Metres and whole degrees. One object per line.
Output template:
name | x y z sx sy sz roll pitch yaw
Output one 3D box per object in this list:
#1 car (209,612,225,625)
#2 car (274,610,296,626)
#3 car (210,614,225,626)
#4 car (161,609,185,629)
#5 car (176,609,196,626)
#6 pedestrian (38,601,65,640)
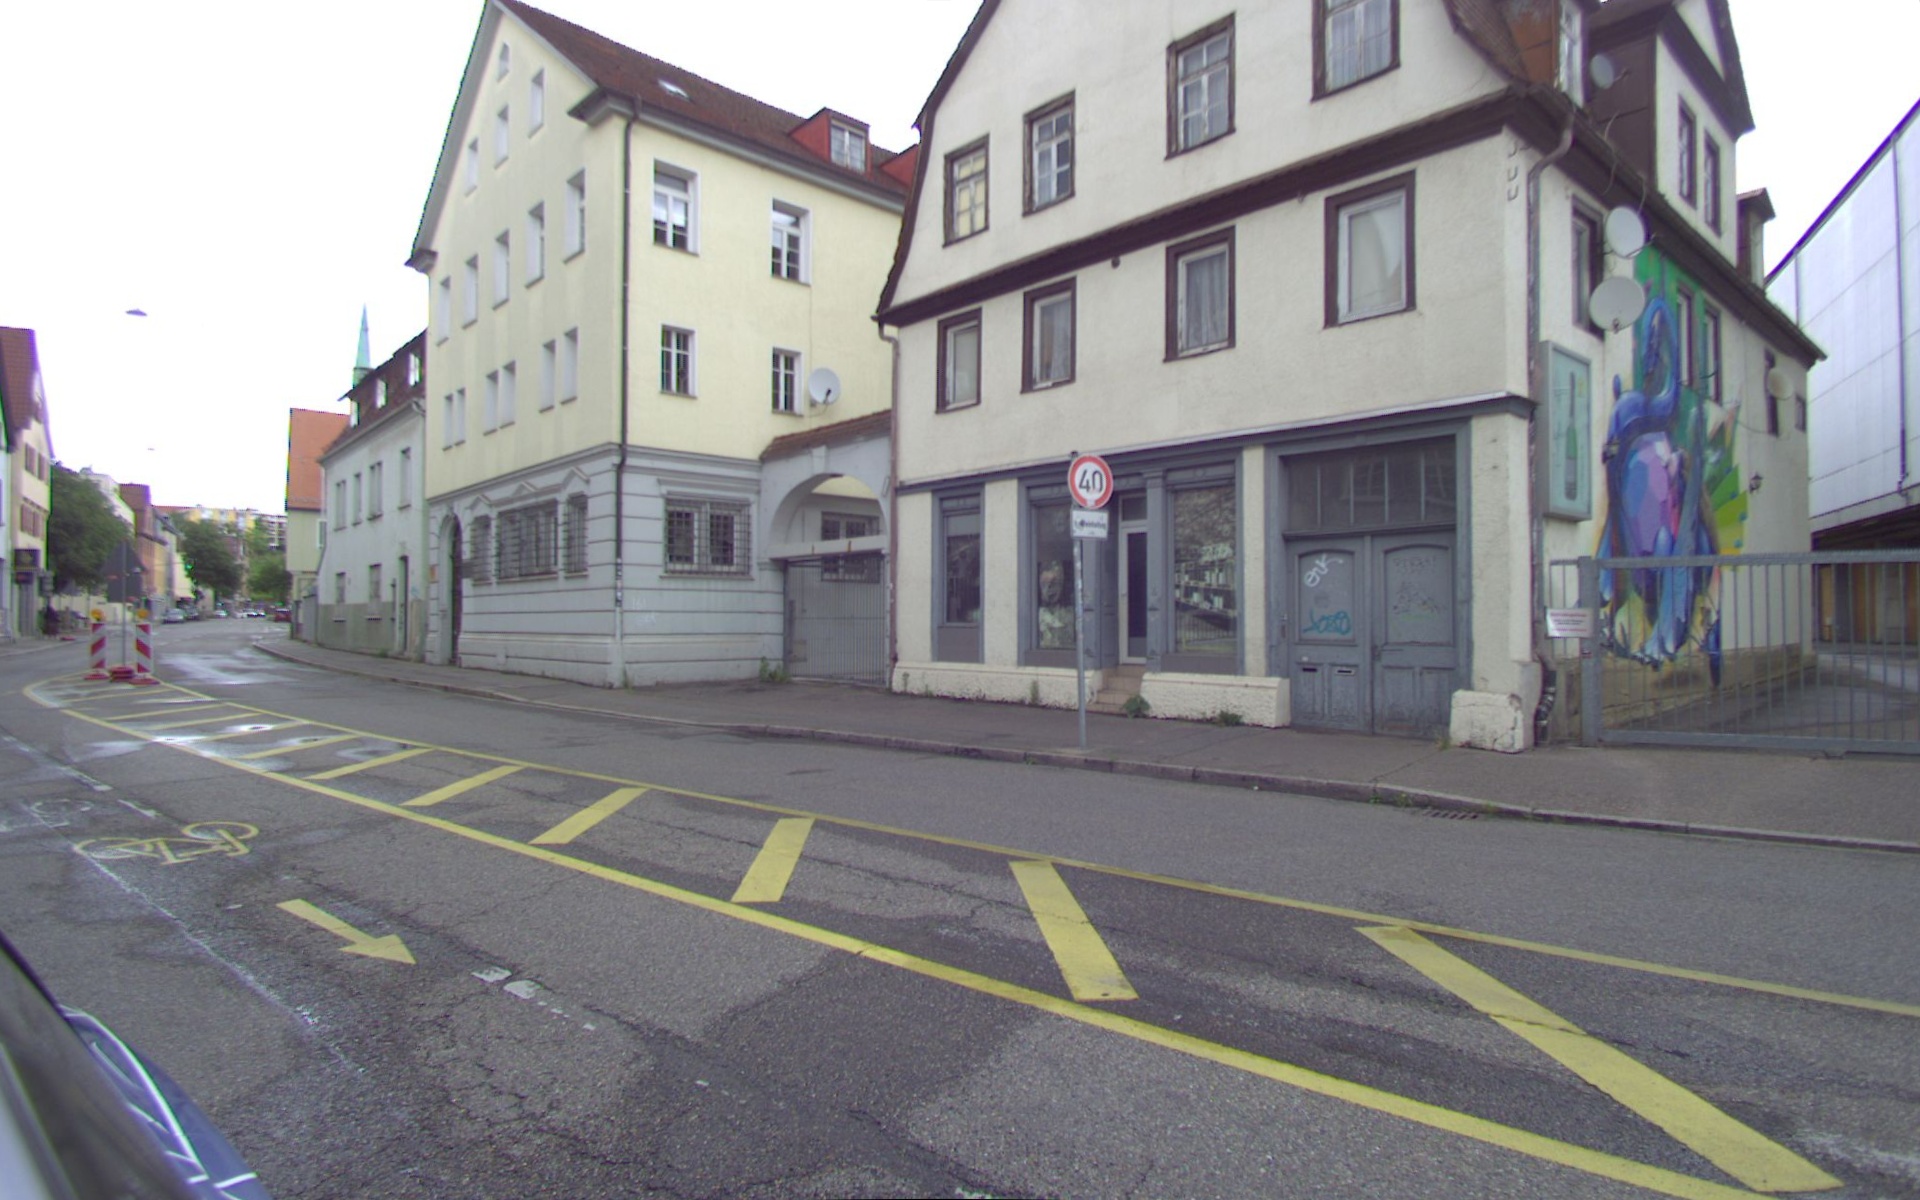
car | -114.751 2.840 156.239 1.967 2.029 4.009 1 -2 -37
car | -85.648 2.314 128.372 2.027 2.029 4.009 1 -2 -37
car | -123.495 3.301 168.311 1.967 2.029 4.009 1 -2 -37
car | -84.778 2.042 109.057 1.967 2.029 4.009 1 -2 -37
car | -96.994 2.230 126.796 1.967 2.029 4.009 1 -2 -37
pedestrian | -45.115 1.037 50.271 0.864 1.914 0.899 1 -2 -36
